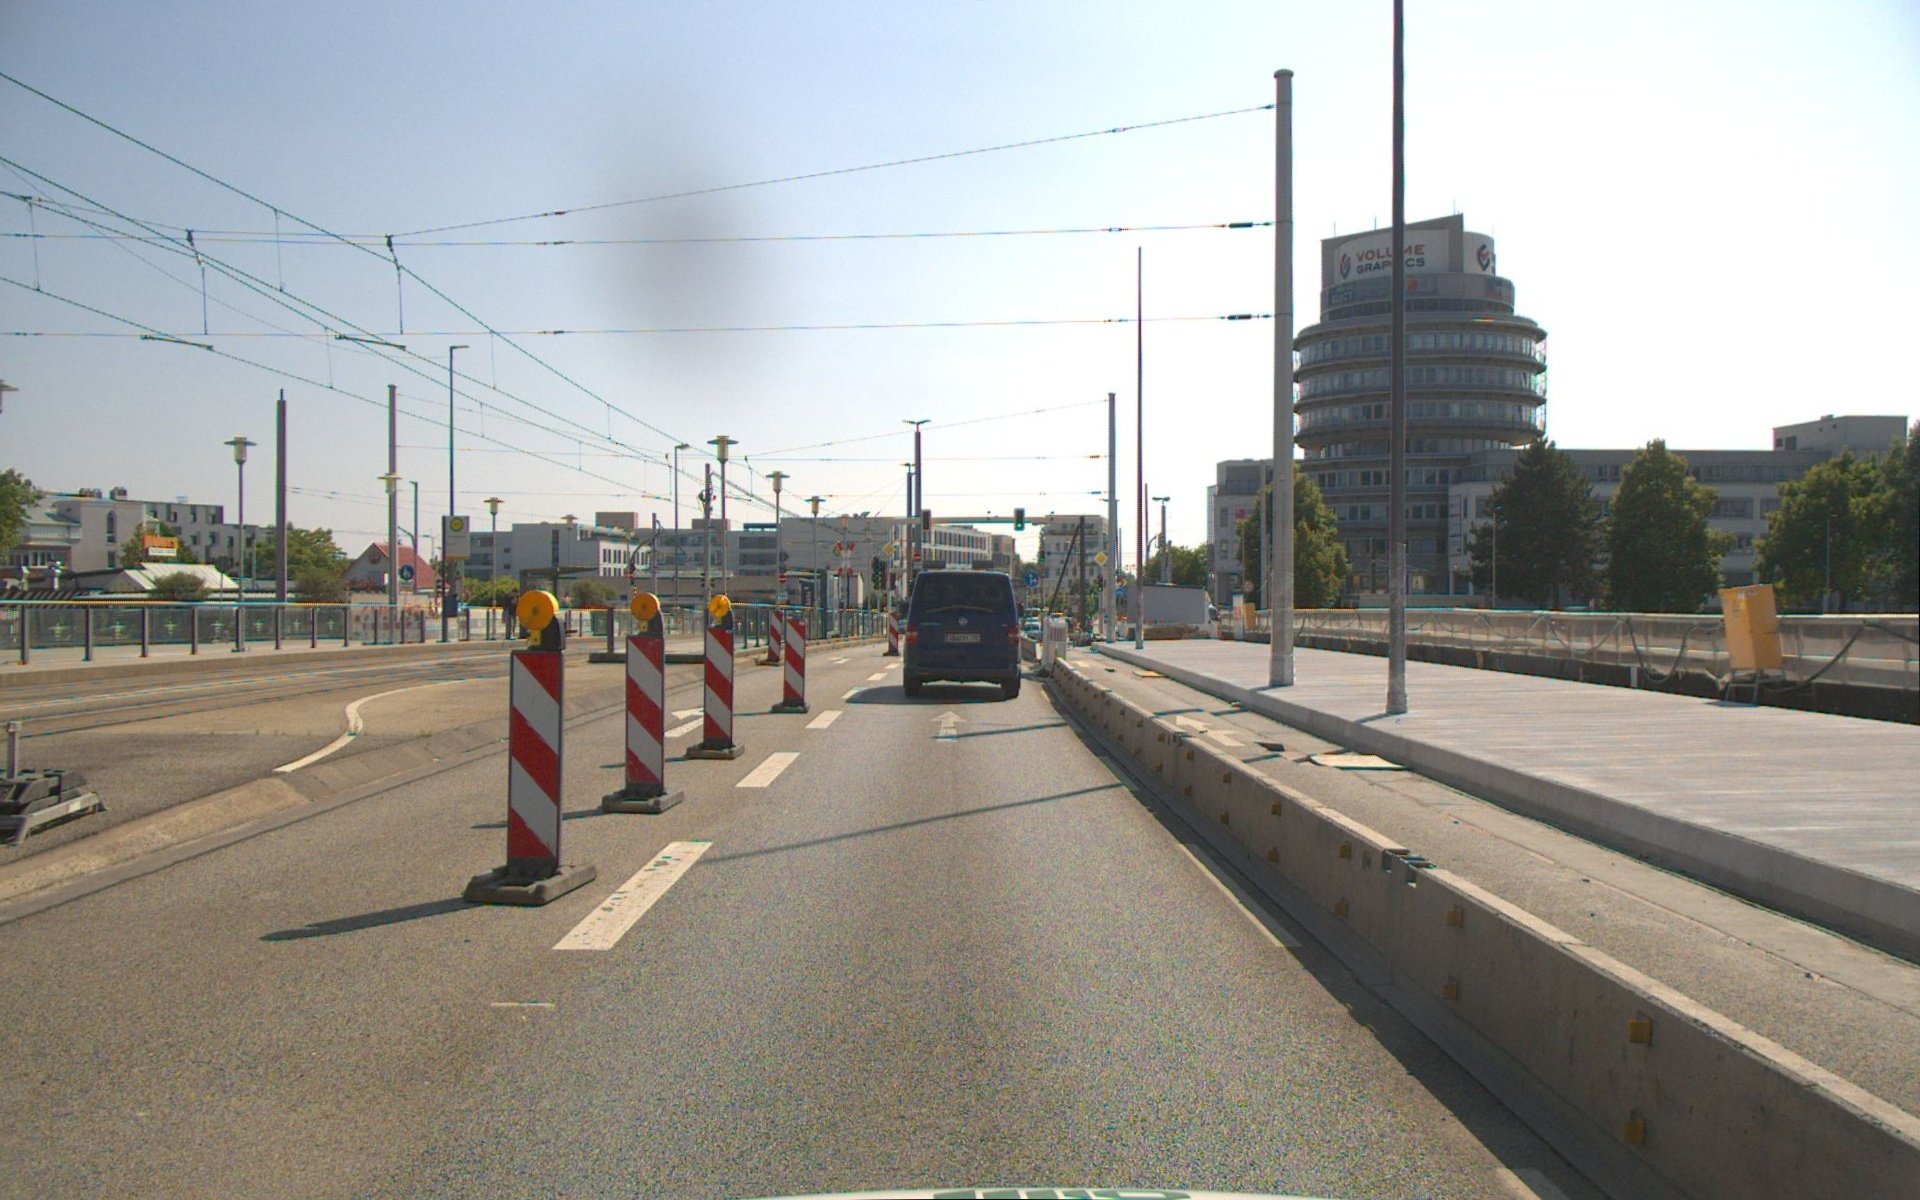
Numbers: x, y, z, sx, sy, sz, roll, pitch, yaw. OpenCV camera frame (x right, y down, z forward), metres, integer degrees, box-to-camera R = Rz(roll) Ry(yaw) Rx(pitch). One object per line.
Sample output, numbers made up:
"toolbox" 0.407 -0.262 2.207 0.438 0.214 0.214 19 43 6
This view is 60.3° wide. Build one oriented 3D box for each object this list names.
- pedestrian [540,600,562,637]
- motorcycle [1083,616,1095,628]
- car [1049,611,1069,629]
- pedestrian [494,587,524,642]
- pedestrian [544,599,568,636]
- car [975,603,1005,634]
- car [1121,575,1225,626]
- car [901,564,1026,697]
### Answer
"pedestrian" -14.407 0.634 58.293 0.634 1.296 0.453 0 0 4
"motorcycle" 13.854 2.367 177.581 1.137 1.264 3.010 0 0 9
"car" 8.523 1.725 142.155 1.708 1.501 3.886 0 -1 3
"pedestrian" -13.995 0.443 51.327 0.646 1.683 0.740 0 0 12
"pedestrian" -14.365 0.630 58.876 0.634 1.296 0.697 0 0 4
"car" 1.825 1.094 99.899 1.611 1.758 3.719 2 0 4
"car" 13.049 0.019 101.403 5.857 2.937 2.335 1 0 -18
"car" 0.033 0.449 27.127 1.849 1.968 4.000 2 0 -1
